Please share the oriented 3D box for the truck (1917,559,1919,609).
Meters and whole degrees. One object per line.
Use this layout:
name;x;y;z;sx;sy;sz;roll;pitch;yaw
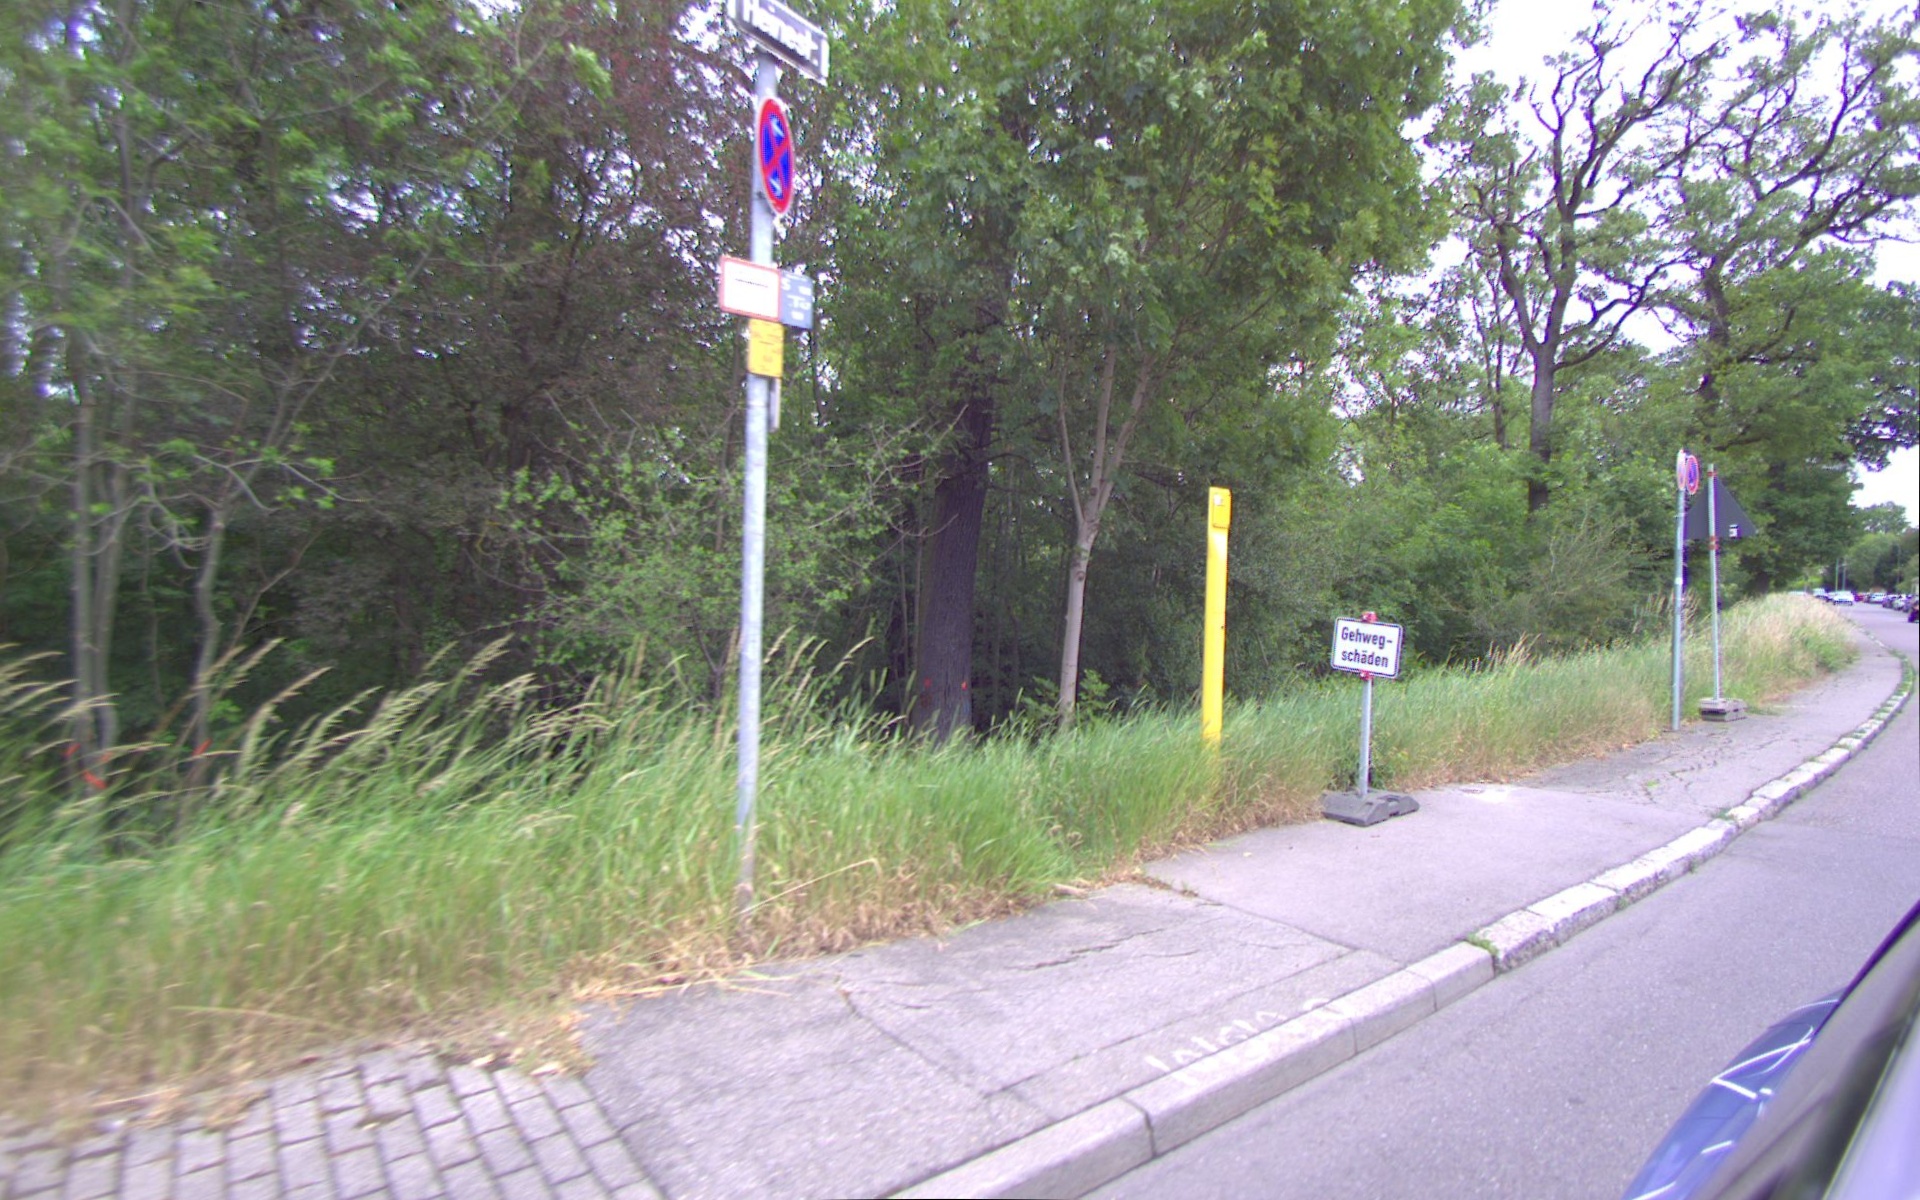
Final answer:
truck;71.634;-1.131;73.349;2.998;3.684;6.980;2;2;42
